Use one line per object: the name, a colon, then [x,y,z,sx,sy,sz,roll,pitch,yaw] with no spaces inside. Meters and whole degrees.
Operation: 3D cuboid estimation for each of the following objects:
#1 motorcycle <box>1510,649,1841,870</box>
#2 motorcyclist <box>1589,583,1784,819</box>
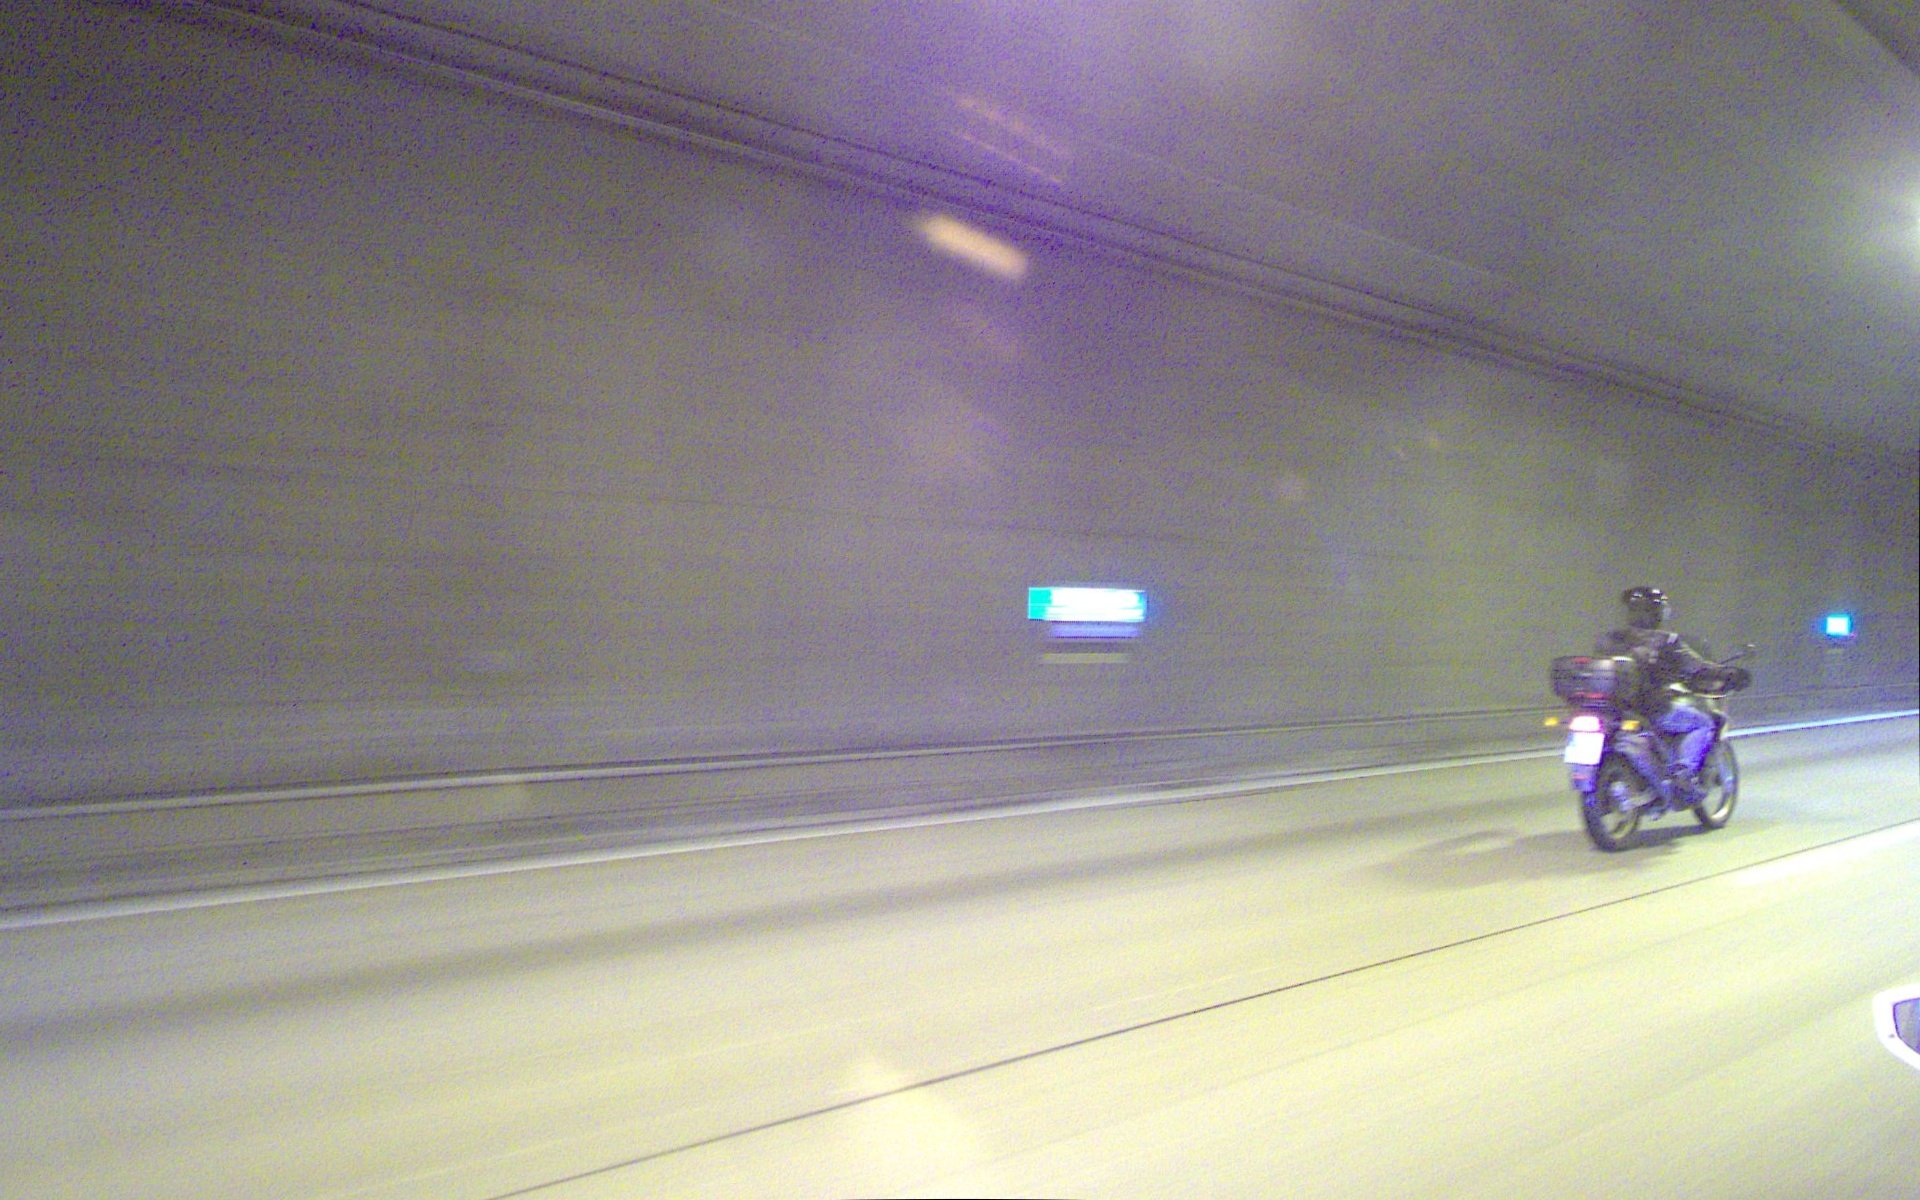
motorcycle: [5.004,0.997,6.966,2.572,1.262,0.842,1,-1,-29]
motorcyclist: [5.023,0.653,6.966,0.812,1.497,0.835,1,-1,-30]
